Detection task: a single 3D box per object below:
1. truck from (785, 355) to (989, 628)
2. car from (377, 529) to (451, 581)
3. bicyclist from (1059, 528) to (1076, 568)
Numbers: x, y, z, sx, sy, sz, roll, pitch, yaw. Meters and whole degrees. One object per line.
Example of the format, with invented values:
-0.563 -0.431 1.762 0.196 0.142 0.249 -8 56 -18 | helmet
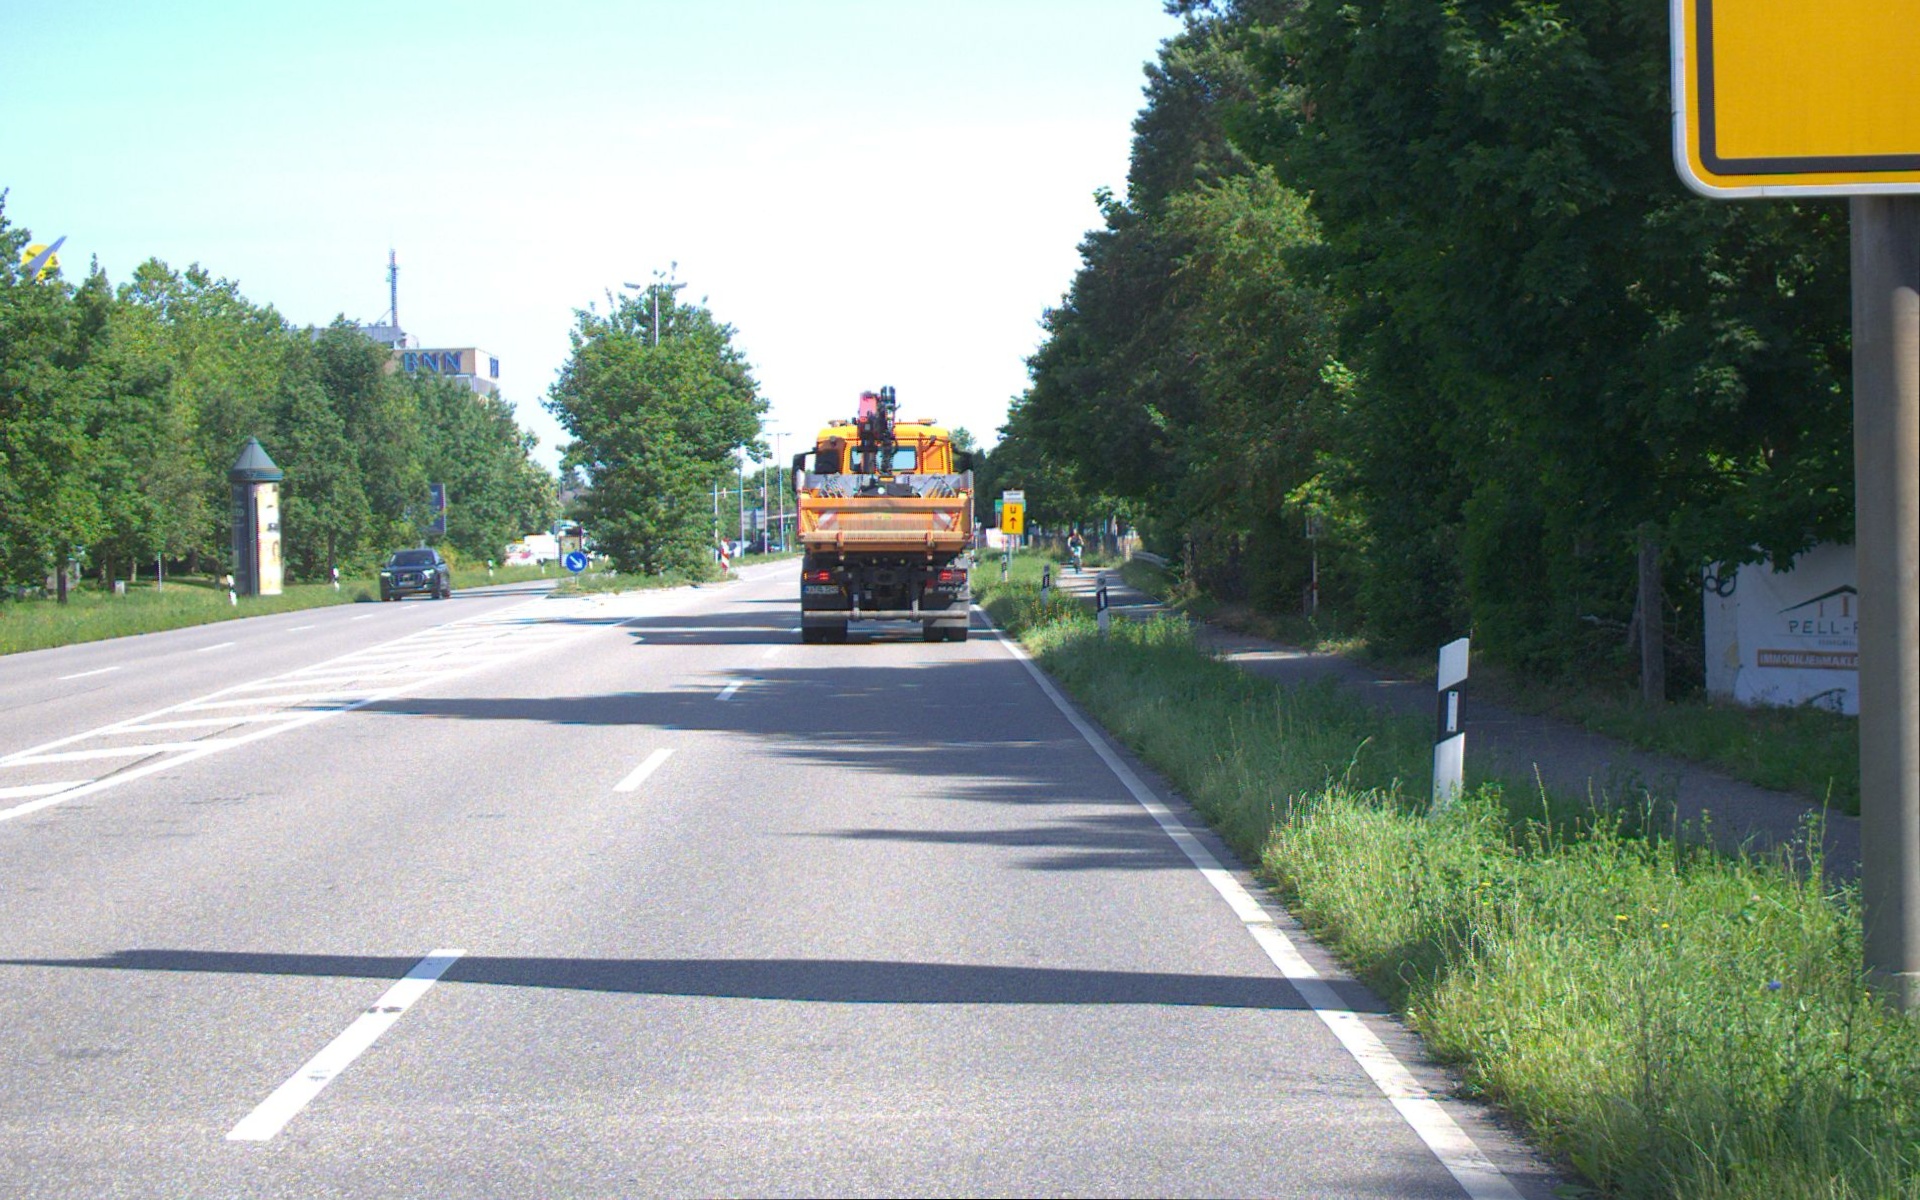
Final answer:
-1.226 -1.632 52.731 2.871 3.867 7.401 0 1 -3 | truck
-17.803 -1.485 112.302 1.800 1.566 4.000 -2 1 -1 | car
4.218 -2.031 135.037 0.558 1.552 0.557 -2 1 -1 | bicyclist
